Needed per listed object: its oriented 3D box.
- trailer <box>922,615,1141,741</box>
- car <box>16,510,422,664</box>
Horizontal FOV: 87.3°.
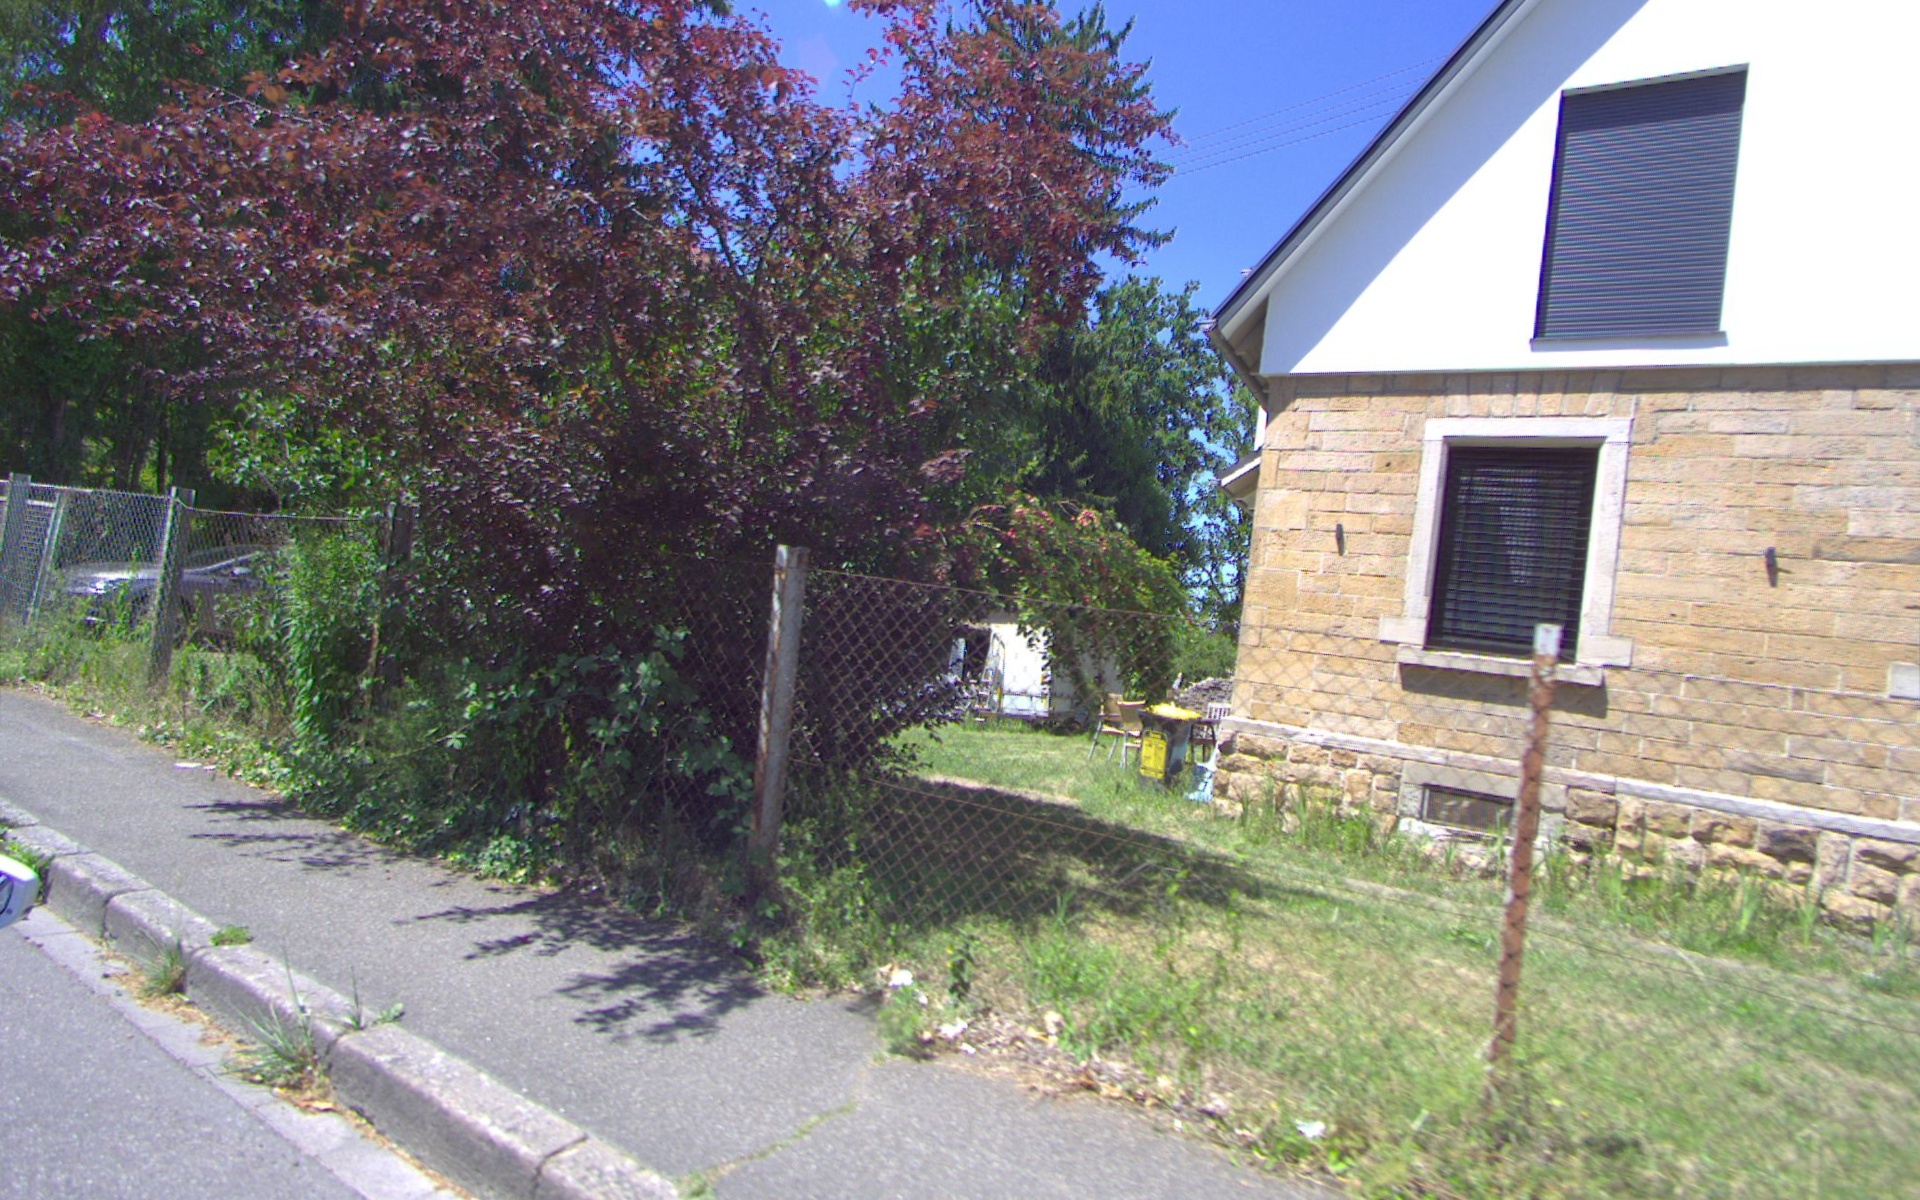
[{"bbox_3d":[1.422,1.488,18.462,2.053,1.955,3.989,0,-7,38],"label":"trailer"},{"bbox_3d":[-9.608,-0.080,13.360,1.737,1.395,3.870,7,-3,32],"label":"car"}]
